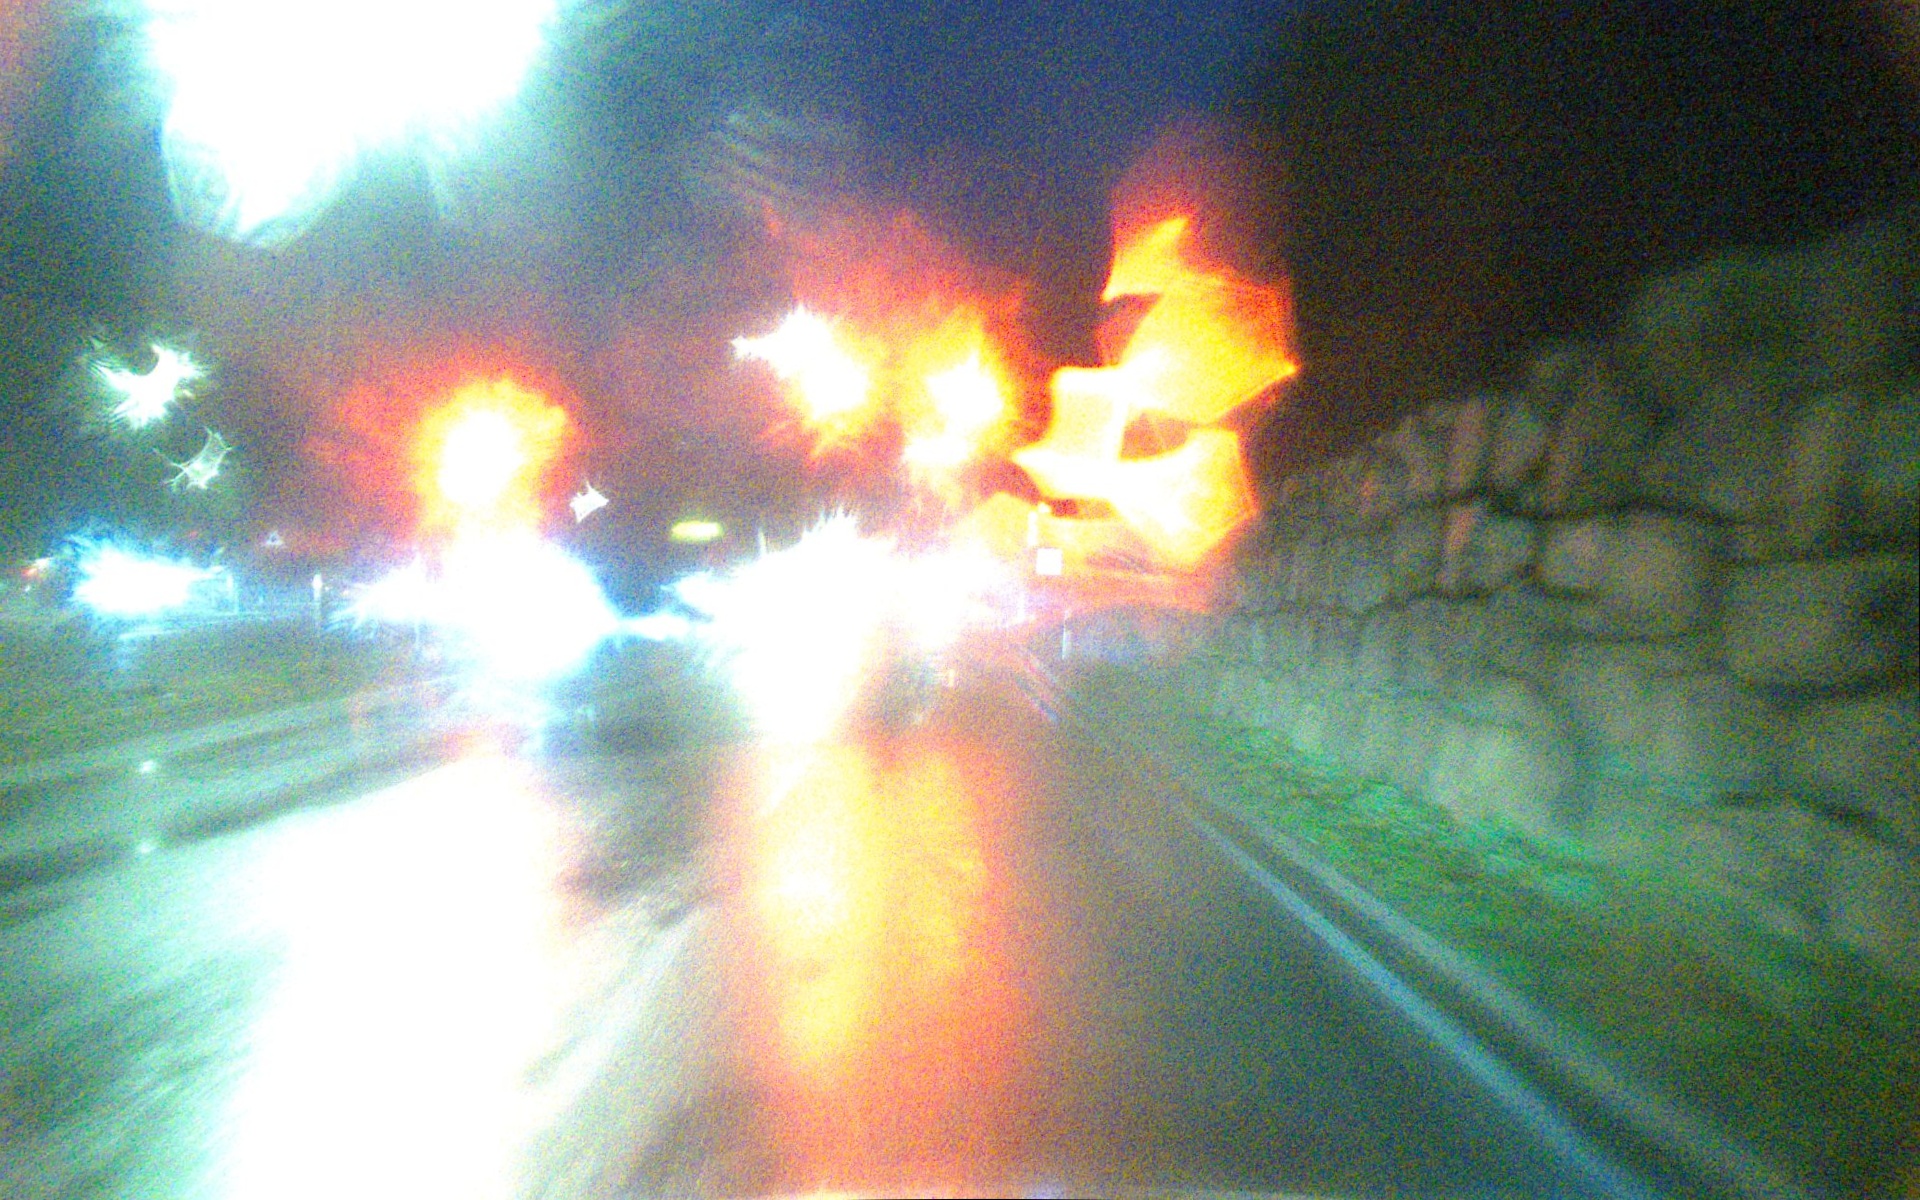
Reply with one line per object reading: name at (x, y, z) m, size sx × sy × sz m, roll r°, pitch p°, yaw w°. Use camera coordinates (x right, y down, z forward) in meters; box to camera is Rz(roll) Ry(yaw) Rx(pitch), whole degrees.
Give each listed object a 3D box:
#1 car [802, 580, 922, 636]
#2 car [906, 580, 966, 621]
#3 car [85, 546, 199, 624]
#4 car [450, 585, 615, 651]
car at (-3.047, 0.227, 52.137) m, size 1.956 × 1.691 × 3.994 m, roll 0°, pitch 0°, yaw 29°
car at (-0.840, 0.019, 60.804) m, size 1.921 × 1.453 × 3.934 m, roll 0°, pitch 0°, yaw 3°
car at (-22.393, -0.394, 45.201) m, size 1.981 × 2.049 × 3.943 m, roll 0°, pitch 0°, yaw -39°
car at (-11.137, 0.454, 43.344) m, size 3.910 × 1.691 × 1.998 m, roll 0°, pitch 0°, yaw -6°
